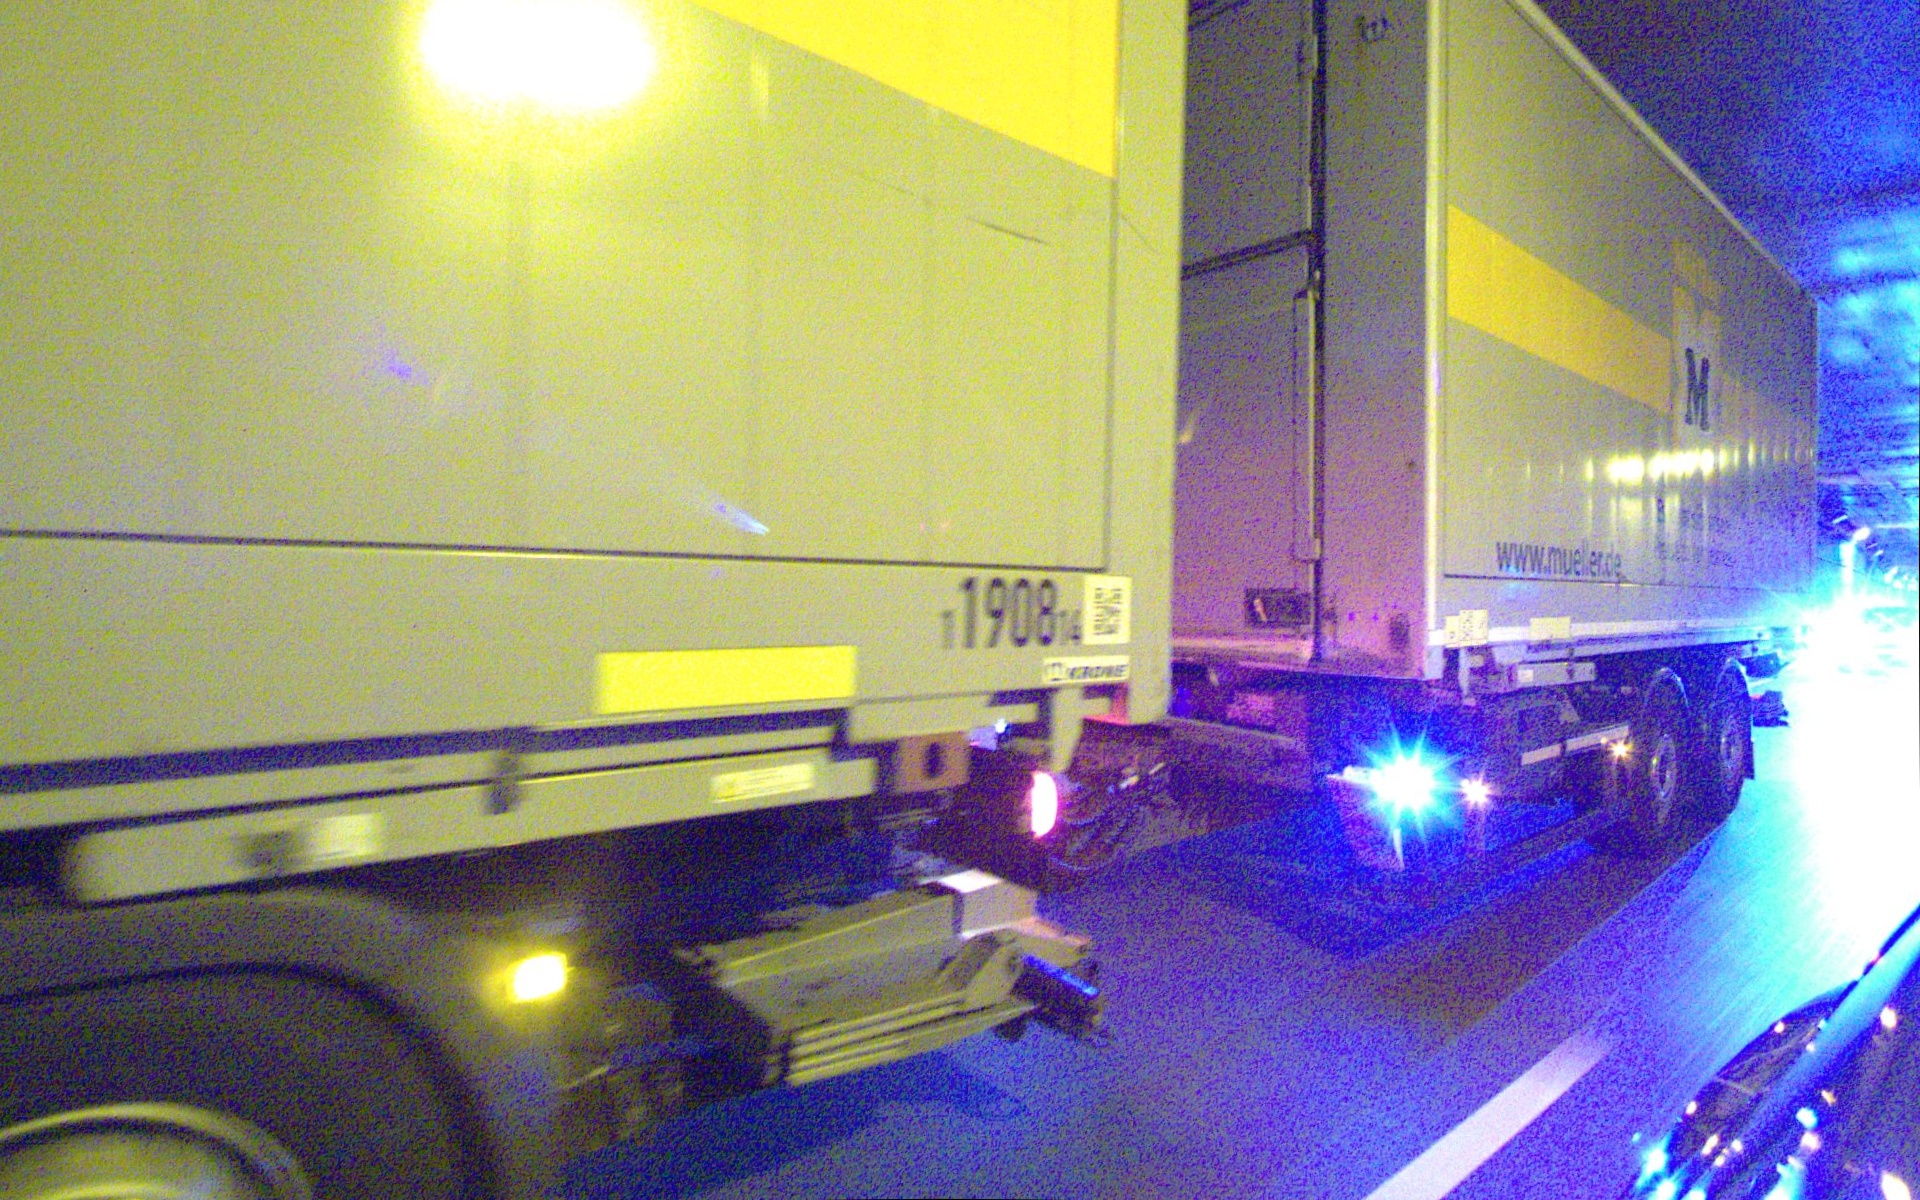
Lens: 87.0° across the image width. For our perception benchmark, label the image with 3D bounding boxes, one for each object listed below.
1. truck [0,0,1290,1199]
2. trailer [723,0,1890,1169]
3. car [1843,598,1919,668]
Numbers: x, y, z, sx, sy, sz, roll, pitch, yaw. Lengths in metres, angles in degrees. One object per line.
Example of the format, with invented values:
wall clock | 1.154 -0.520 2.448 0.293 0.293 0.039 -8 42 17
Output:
truck | -3.893 -0.609 0.454 9.730 3.962 2.896 0 1 -39
trailer | 3.195 -0.617 6.398 8.790 3.906 2.881 0 1 -41
car | 21.082 0.685 22.513 3.733 1.420 1.733 -1 0 -42
